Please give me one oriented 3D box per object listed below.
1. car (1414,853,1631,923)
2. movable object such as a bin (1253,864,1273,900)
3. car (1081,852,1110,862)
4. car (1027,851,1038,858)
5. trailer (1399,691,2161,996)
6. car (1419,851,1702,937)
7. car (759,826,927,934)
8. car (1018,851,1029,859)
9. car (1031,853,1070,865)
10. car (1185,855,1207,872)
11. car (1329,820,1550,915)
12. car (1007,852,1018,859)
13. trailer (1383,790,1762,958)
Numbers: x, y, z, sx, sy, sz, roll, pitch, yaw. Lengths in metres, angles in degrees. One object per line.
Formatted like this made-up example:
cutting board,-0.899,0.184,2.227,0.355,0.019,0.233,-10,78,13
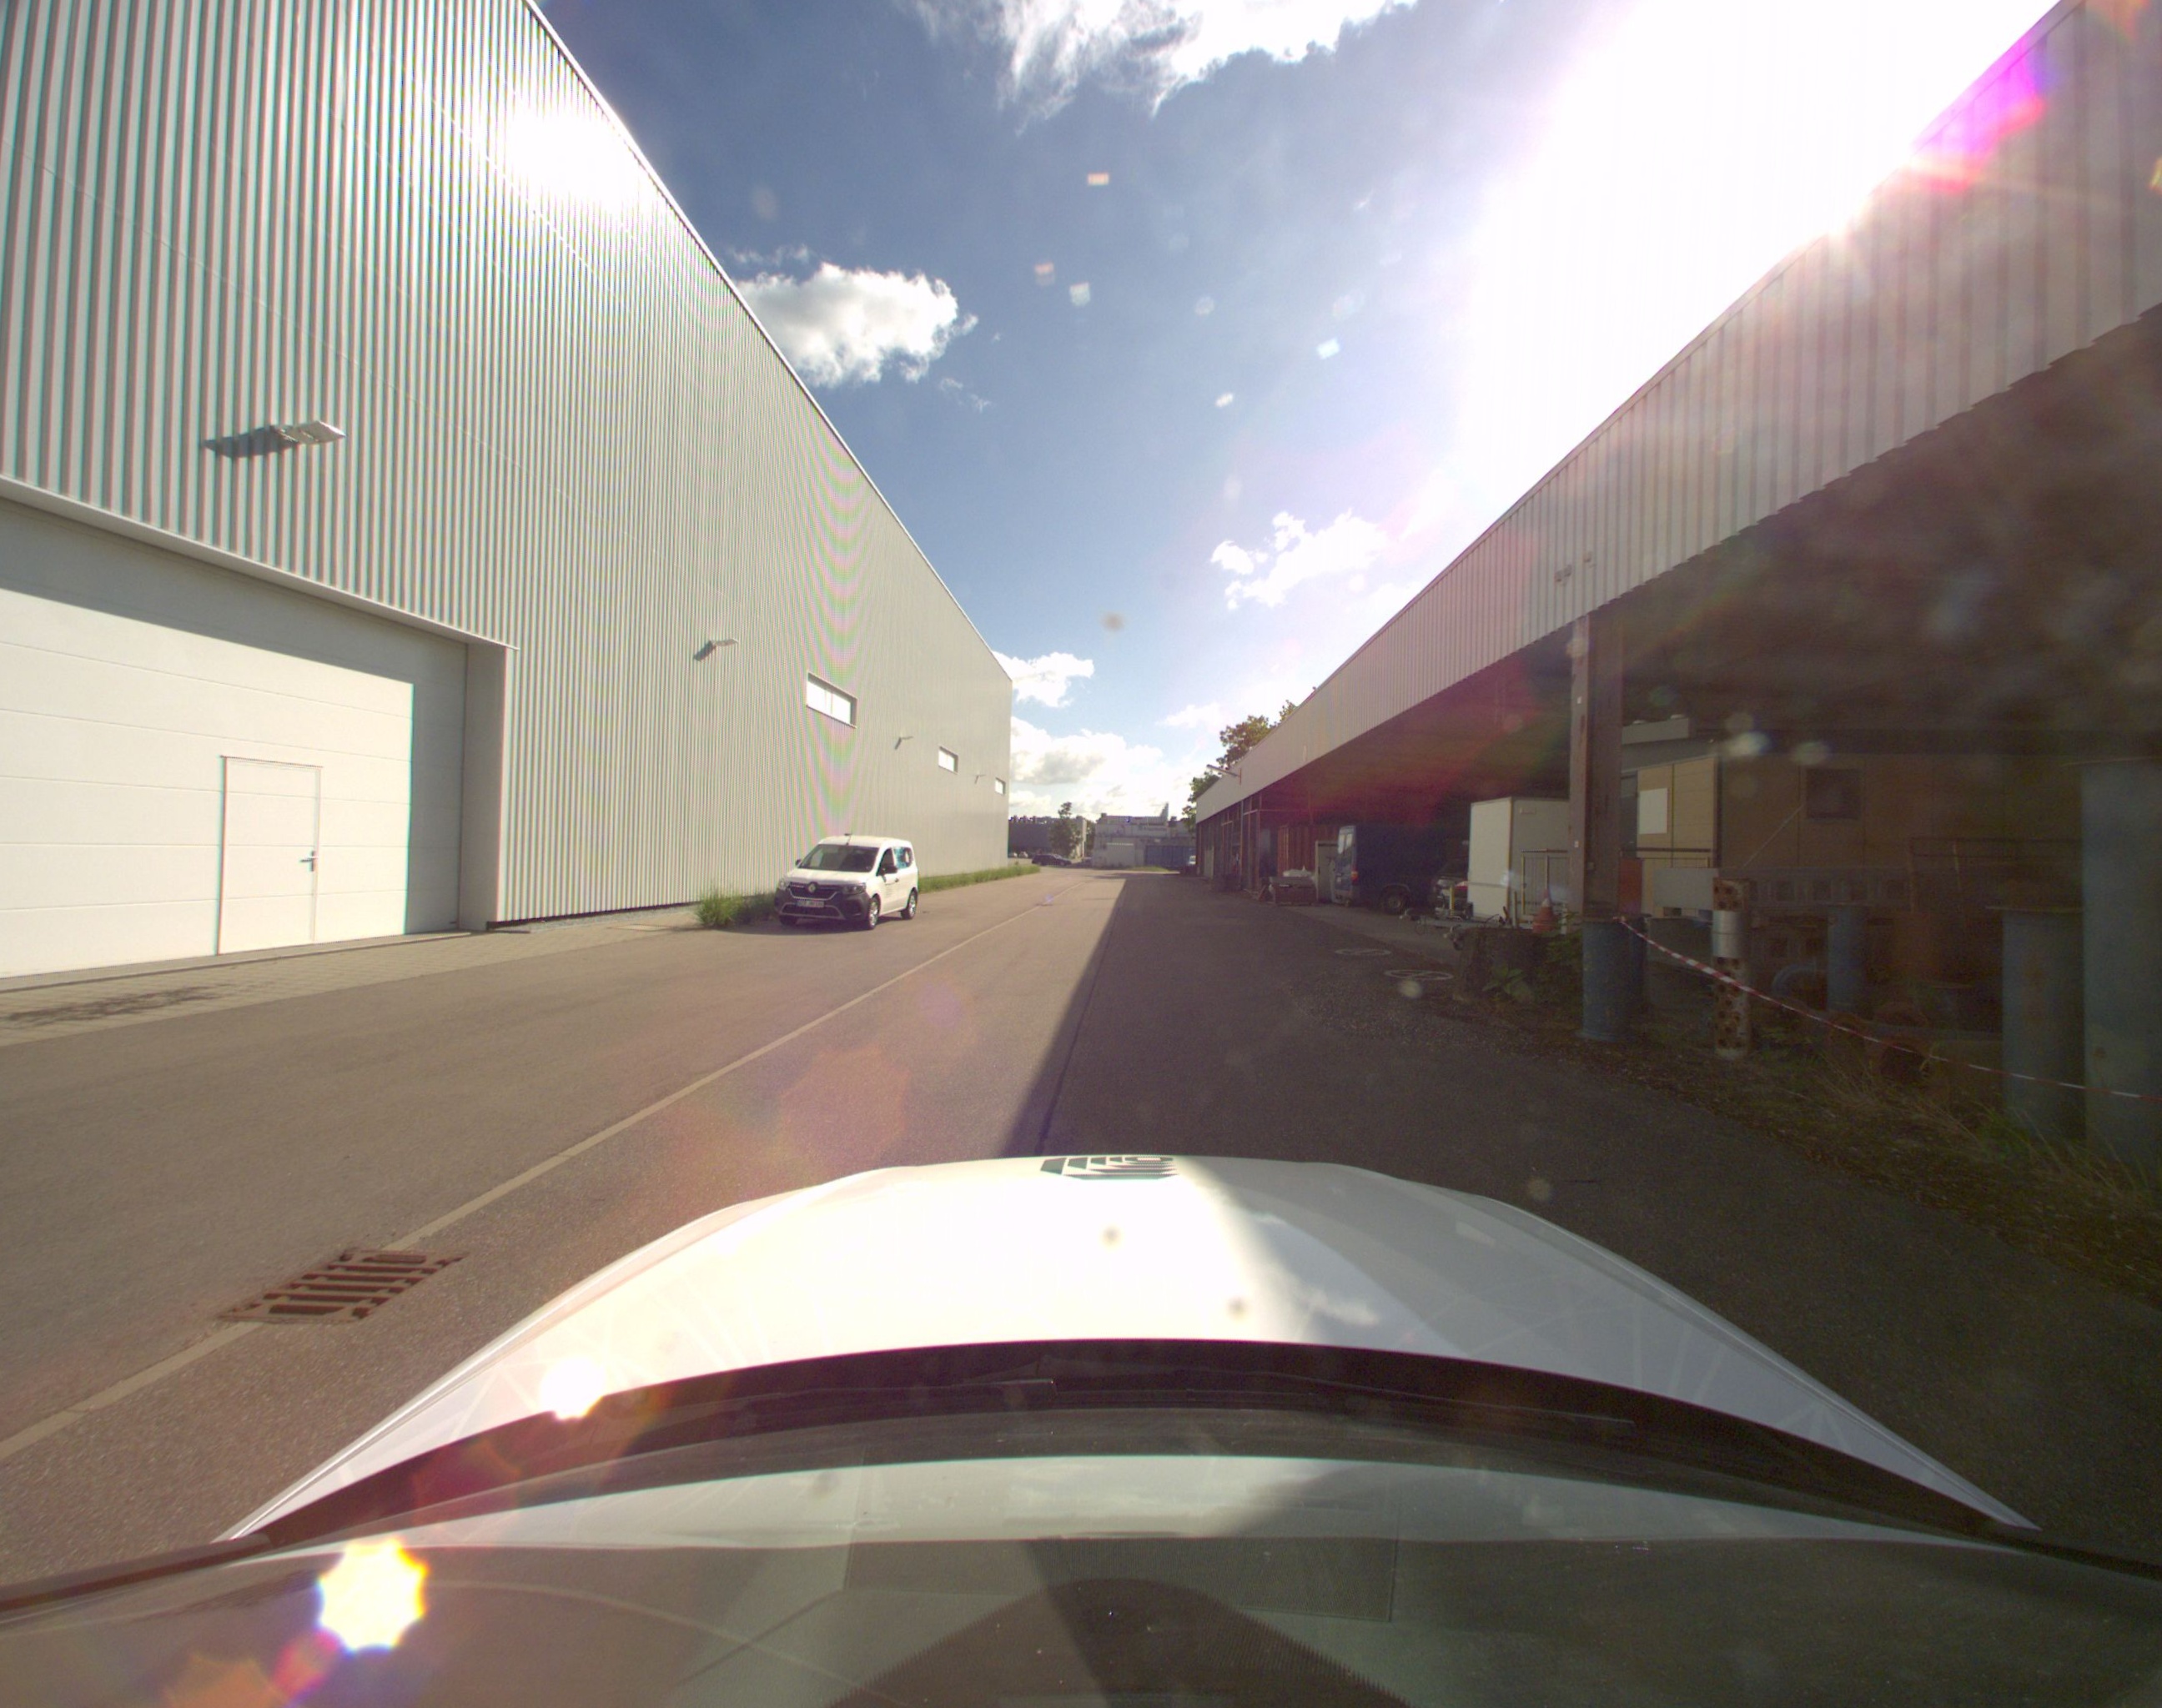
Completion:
car,9.883,0.734,18.431,3.975,1.472,1.787,0,0,-1
movable object such as a bin,6.090,0.909,27.284,0.578,1.164,1.241,0,0,8
car,2.264,0.449,126.561,4.505,1.508,1.911,1,0,4
car,-11.530,0.191,195.230,2.184,1.736,4.003,-1,-1,3
trailer,9.507,-0.125,10.122,9.995,3.216,2.856,0,0,3
car,8.872,0.716,15.346,4.313,1.496,1.777,0,0,1
car,-4.723,0.475,16.896,1.882,1.845,4.362,3,0,3
car,-13.962,0.259,197.067,2.184,1.736,4.003,-1,-1,3
car,-3.651,0.593,99.201,4.504,1.508,1.911,0,0,5
car,12.078,0.938,85.619,1.985,1.585,4.176,1,1,3
car,9.278,0.325,21.434,4.957,2.325,2.002,1,0,3
car,-16.556,0.312,196.853,1.985,1.736,4.003,-1,-1,3
trailer,7.426,0.269,12.773,4.785,2.391,1.831,0,0,8
